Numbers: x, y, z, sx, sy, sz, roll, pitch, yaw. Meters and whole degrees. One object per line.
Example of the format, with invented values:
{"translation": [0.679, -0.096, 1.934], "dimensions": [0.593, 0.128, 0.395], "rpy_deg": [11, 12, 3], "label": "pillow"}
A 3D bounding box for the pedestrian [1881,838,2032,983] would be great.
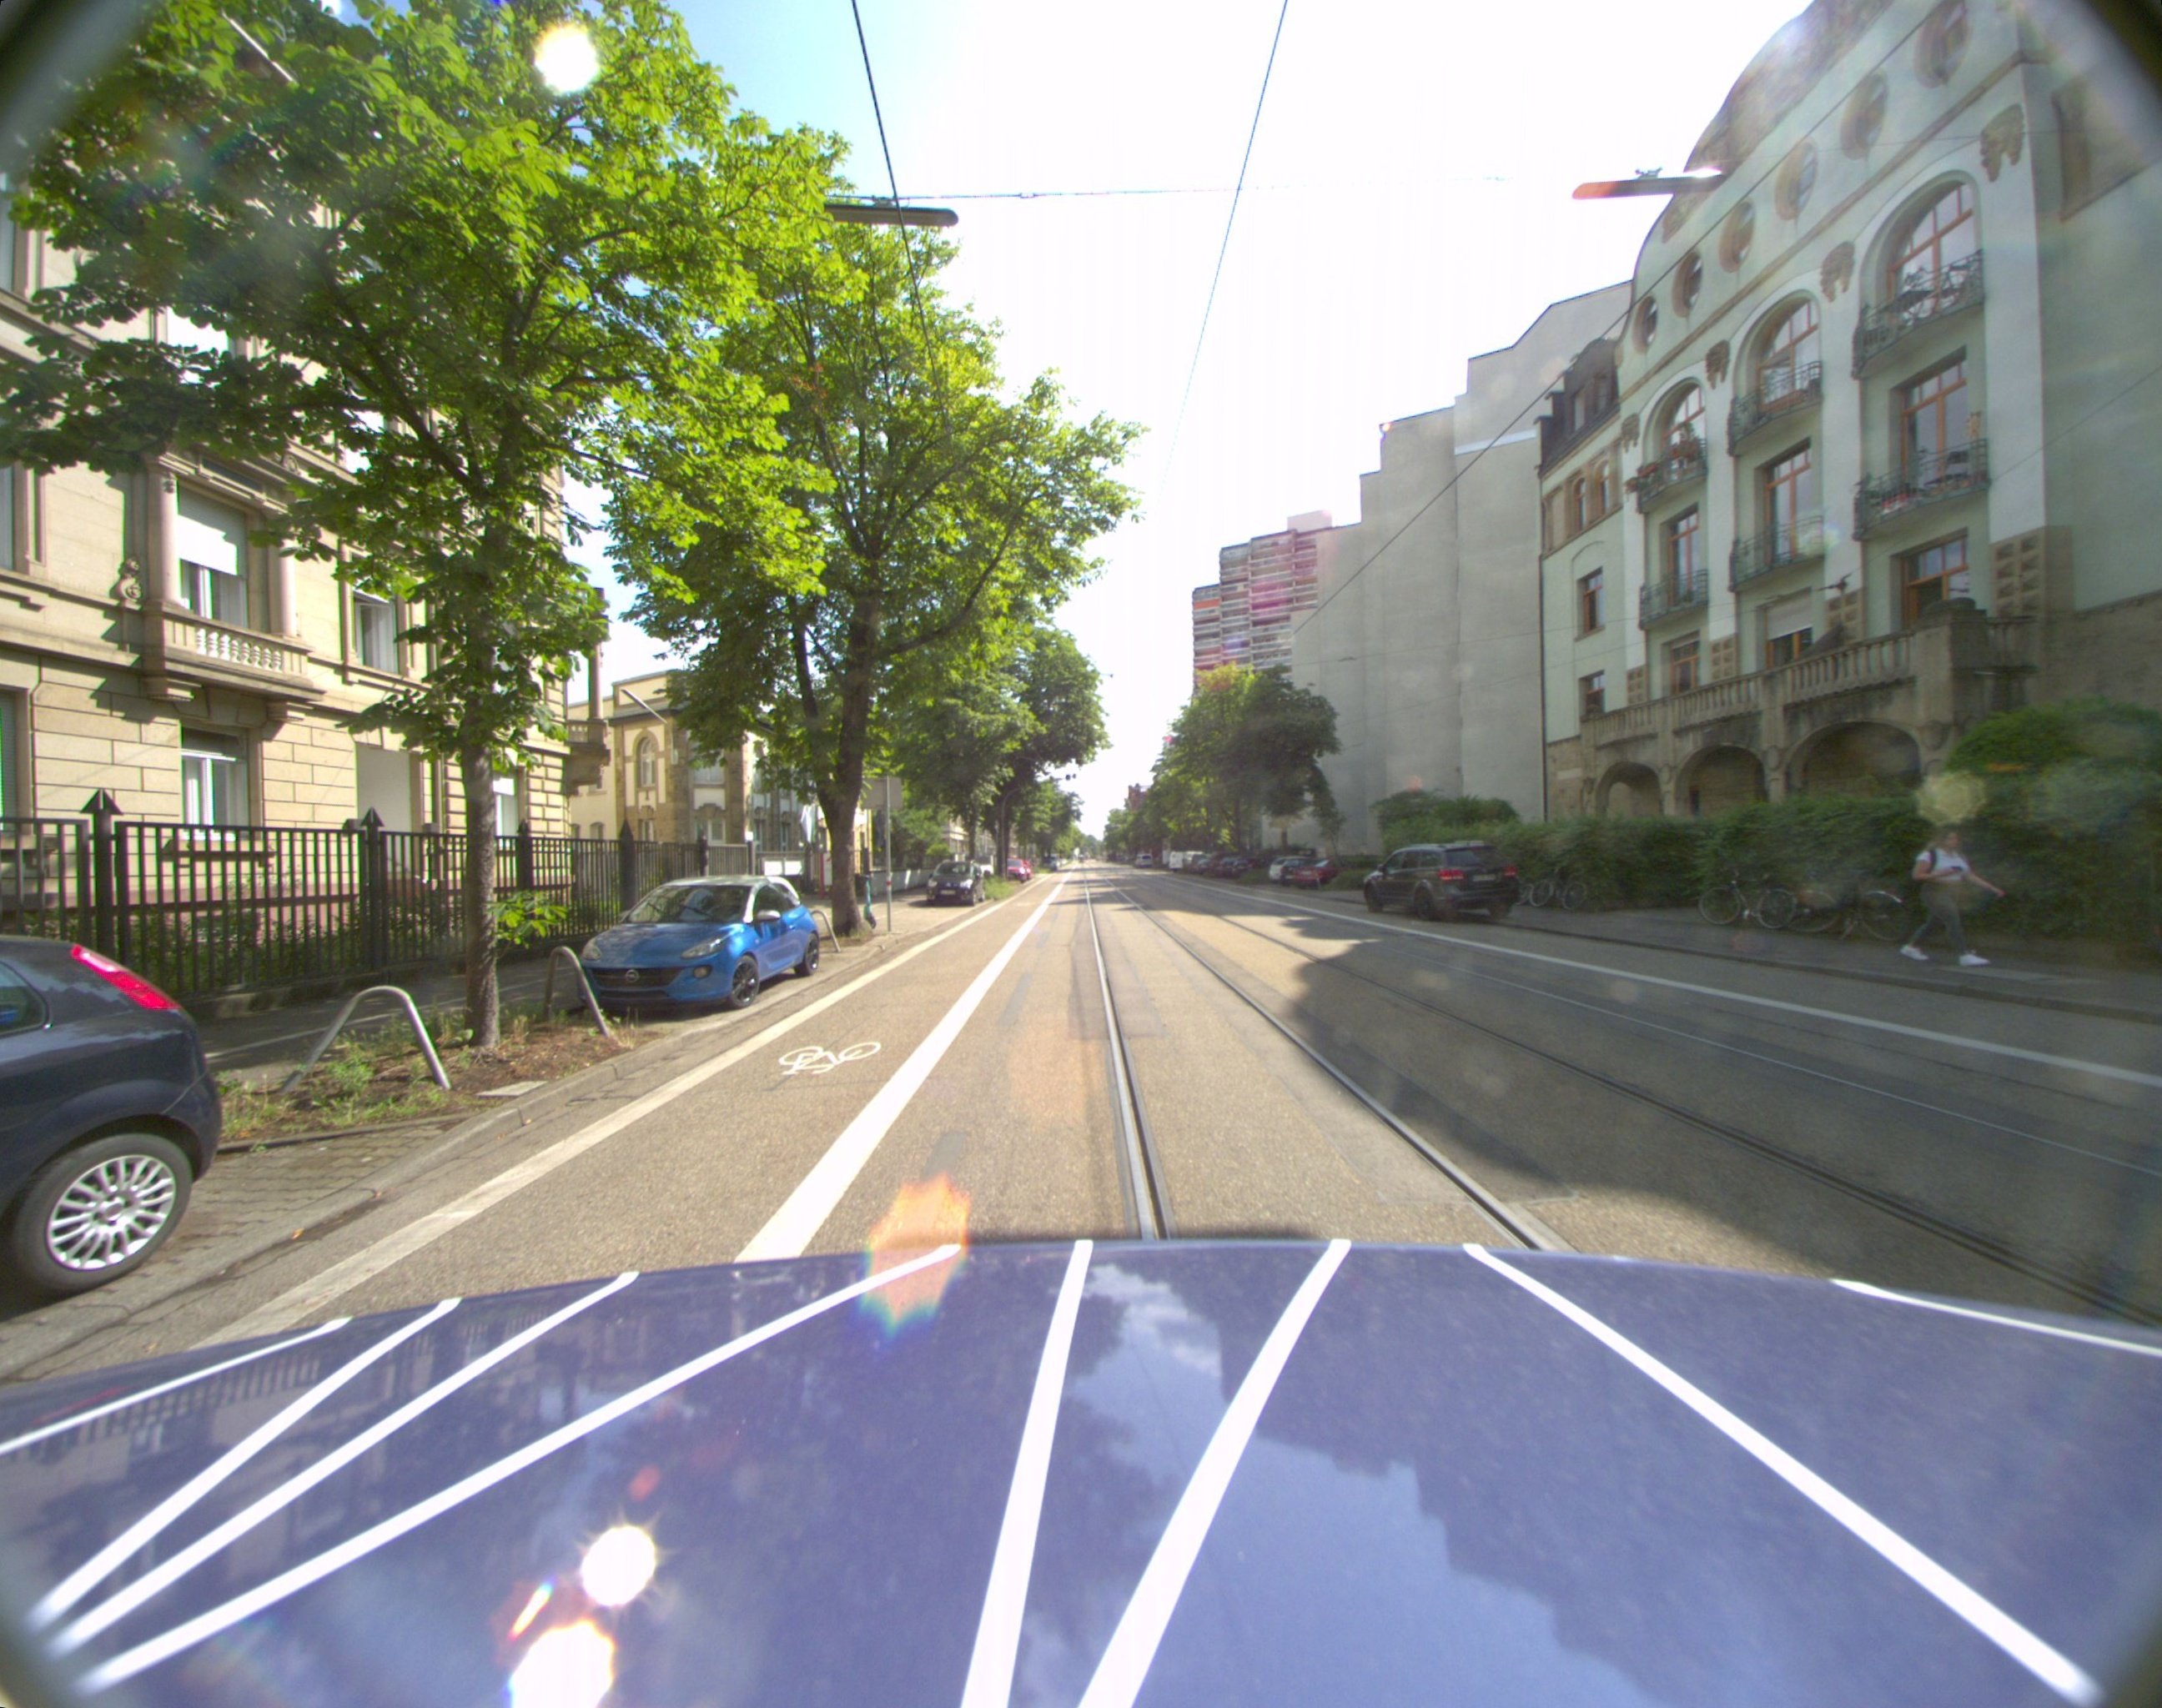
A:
{"translation": [10.068, 0.616, 8.773], "dimensions": [0.681, 1.559, 0.882], "rpy_deg": [-3, 1, 2], "label": "pedestrian"}

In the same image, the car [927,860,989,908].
{"translation": [-4.523, 1.054, 28.454], "dimensions": [1.701, 1.582, 4.202], "rpy_deg": [0, 0, -1], "label": "car"}

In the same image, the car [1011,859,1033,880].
{"translation": [-4.573, 1.178, 58.941], "dimensions": [1.605, 1.420, 3.594], "rpy_deg": [2, 0, -4], "label": "car"}

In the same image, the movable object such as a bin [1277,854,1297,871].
{"translation": [16.497, 0.656, 60.865], "dimensions": [1.171, 1.276, 1.441], "rpy_deg": [2, 1, -1], "label": "movable object such as a bin"}

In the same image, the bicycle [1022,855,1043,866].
{"translation": [-4.807, 0.667, 75.677], "dimensions": [1.996, 1.034, 0.658], "rpy_deg": [0, 1, 22], "label": "bicycle"}

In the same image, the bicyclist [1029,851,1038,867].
{"translation": [-4.728, 0.471, 75.642], "dimensions": [0.740, 1.567, 0.644], "rpy_deg": [0, 1, 22], "label": "bicyclist"}

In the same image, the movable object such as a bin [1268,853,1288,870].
{"translation": [16.663, 0.657, 64.240], "dimensions": [1.196, 1.372, 1.441], "rpy_deg": [2, 1, -3], "label": "movable object such as a bin"}

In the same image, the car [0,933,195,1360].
{"translation": [-4.688, 1.073, 1.456], "dimensions": [1.644, 1.487, 3.757], "rpy_deg": [0, 0, -2], "label": "car"}

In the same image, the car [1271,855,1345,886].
{"translation": [11.337, 0.818, 37.862], "dimensions": [3.815, 1.475, 1.693], "rpy_deg": [1, 0, -39], "label": "car"}

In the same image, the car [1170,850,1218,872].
{"translation": [10.916, 0.658, 73.365], "dimensions": [4.695, 1.985, 1.963], "rpy_deg": [-1, 0, -42], "label": "car"}

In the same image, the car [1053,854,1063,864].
{"translation": [-4.216, 0.886, 140.978], "dimensions": [1.750, 1.597, 4.235], "rpy_deg": [-4, 0, -1], "label": "car"}

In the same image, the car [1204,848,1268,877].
{"translation": [11.112, 0.599, 54.144], "dimensions": [1.911, 1.943, 5.180], "rpy_deg": [1, 0, 44], "label": "car"}

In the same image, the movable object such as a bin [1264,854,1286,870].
{"translation": [16.761, 0.684, 65.842], "dimensions": [1.391, 1.356, 1.538], "rpy_deg": [2, 1, -4], "label": "movable object such as a bin"}

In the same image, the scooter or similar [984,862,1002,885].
{"translation": [-4.967, 1.098, 43.025], "dimensions": [0.341, 1.230, 1.262], "rpy_deg": [2, 1, 24], "label": "scooter or similar"}

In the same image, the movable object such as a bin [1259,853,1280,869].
{"translation": [16.729, 0.651, 67.500], "dimensions": [1.391, 1.356, 1.538], "rpy_deg": [2, 1, -4], "label": "movable object such as a bin"}

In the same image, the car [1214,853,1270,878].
{"translation": [10.809, 0.777, 50.831], "dimensions": [4.009, 1.583, 1.736], "rpy_deg": [1, 0, -44], "label": "car"}

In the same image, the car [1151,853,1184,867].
{"translation": [9.943, 0.710, 87.475], "dimensions": [1.737, 1.514, 3.893], "rpy_deg": [-1, 0, 44], "label": "car"}

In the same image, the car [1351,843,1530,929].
{"translation": [8.316, 0.670, 18.155], "dimensions": [1.790, 1.752, 4.882], "rpy_deg": [-1, 0, -2], "label": "car"}

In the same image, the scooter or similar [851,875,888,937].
{"translation": [-4.646, 1.115, 16.657], "dimensions": [0.443, 1.291, 1.179], "rpy_deg": [2, -2, -31], "label": "scooter or similar"}

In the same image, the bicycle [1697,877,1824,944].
{"translation": [11.090, 0.883, 12.489], "dimensions": [0.384, 0.953, 1.921], "rpy_deg": [-3, 0, 2], "label": "bicycle"}

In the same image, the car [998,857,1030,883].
{"translation": [-4.466, 1.025, 51.173], "dimensions": [1.881, 1.666, 4.281], "rpy_deg": [0, 0, -2], "label": "car"}

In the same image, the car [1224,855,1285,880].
{"translation": [10.956, 0.828, 47.764], "dimensions": [4.009, 1.475, 1.736], "rpy_deg": [1, 0, -42], "label": "car"}

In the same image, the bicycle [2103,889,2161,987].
{"translation": [11.102, 0.857, 7.213], "dimensions": [0.384, 0.953, 1.801], "rpy_deg": [-3, 0, 2], "label": "bicycle"}

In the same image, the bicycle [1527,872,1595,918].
{"translation": [11.080, 0.914, 17.611], "dimensions": [0.384, 0.953, 1.921], "rpy_deg": [-3, 0, 2], "label": "bicycle"}

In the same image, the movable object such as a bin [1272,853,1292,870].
{"translation": [16.479, 0.612, 62.336], "dimensions": [1.167, 1.319, 1.441], "rpy_deg": [2, 1, -1], "label": "movable object such as a bin"}

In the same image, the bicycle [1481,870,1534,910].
{"translation": [11.116, 0.907, 19.850], "dimensions": [0.384, 0.953, 1.810], "rpy_deg": [-3, 0, 2], "label": "bicycle"}

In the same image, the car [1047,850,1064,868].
{"translation": [-3.819, 0.686, 114.933], "dimensions": [2.337, 2.545, 5.389], "rpy_deg": [-4, 0, -1], "label": "car"}

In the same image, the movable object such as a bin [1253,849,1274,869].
{"translation": [16.651, 0.465, 69.245], "dimensions": [1.391, 1.771, 1.538], "rpy_deg": [2, 1, -4], "label": "movable object such as a bin"}

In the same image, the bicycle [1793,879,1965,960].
{"translation": [11.020, 0.868, 10.591], "dimensions": [0.452, 0.953, 1.801], "rpy_deg": [-3, 0, -1], "label": "bicycle"}

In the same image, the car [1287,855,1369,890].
{"translation": [11.298, 0.830, 34.643], "dimensions": [3.979, 1.475, 1.841], "rpy_deg": [1, 0, -43], "label": "car"}

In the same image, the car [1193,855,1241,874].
{"translation": [10.842, 0.815, 60.372], "dimensions": [1.755, 1.409, 4.009], "rpy_deg": [1, 0, 44], "label": "car"}

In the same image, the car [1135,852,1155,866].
{"translation": [9.074, 0.662, 108.189], "dimensions": [1.893, 1.840, 4.234], "rpy_deg": [-4, 0, -5], "label": "car"}

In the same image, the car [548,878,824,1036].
{"translation": [-4.614, 1.104, 9.527], "dimensions": [1.644, 1.487, 3.626], "rpy_deg": [0, 0, -2], "label": "car"}

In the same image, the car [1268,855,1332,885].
{"translation": [11.852, 0.854, 41.063], "dimensions": [1.692, 1.475, 3.816], "rpy_deg": [1, 0, 45], "label": "car"}

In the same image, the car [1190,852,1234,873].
{"translation": [11.017, 0.748, 63.851], "dimensions": [3.723, 1.683, 1.755], "rpy_deg": [1, 0, -43], "label": "car"}
